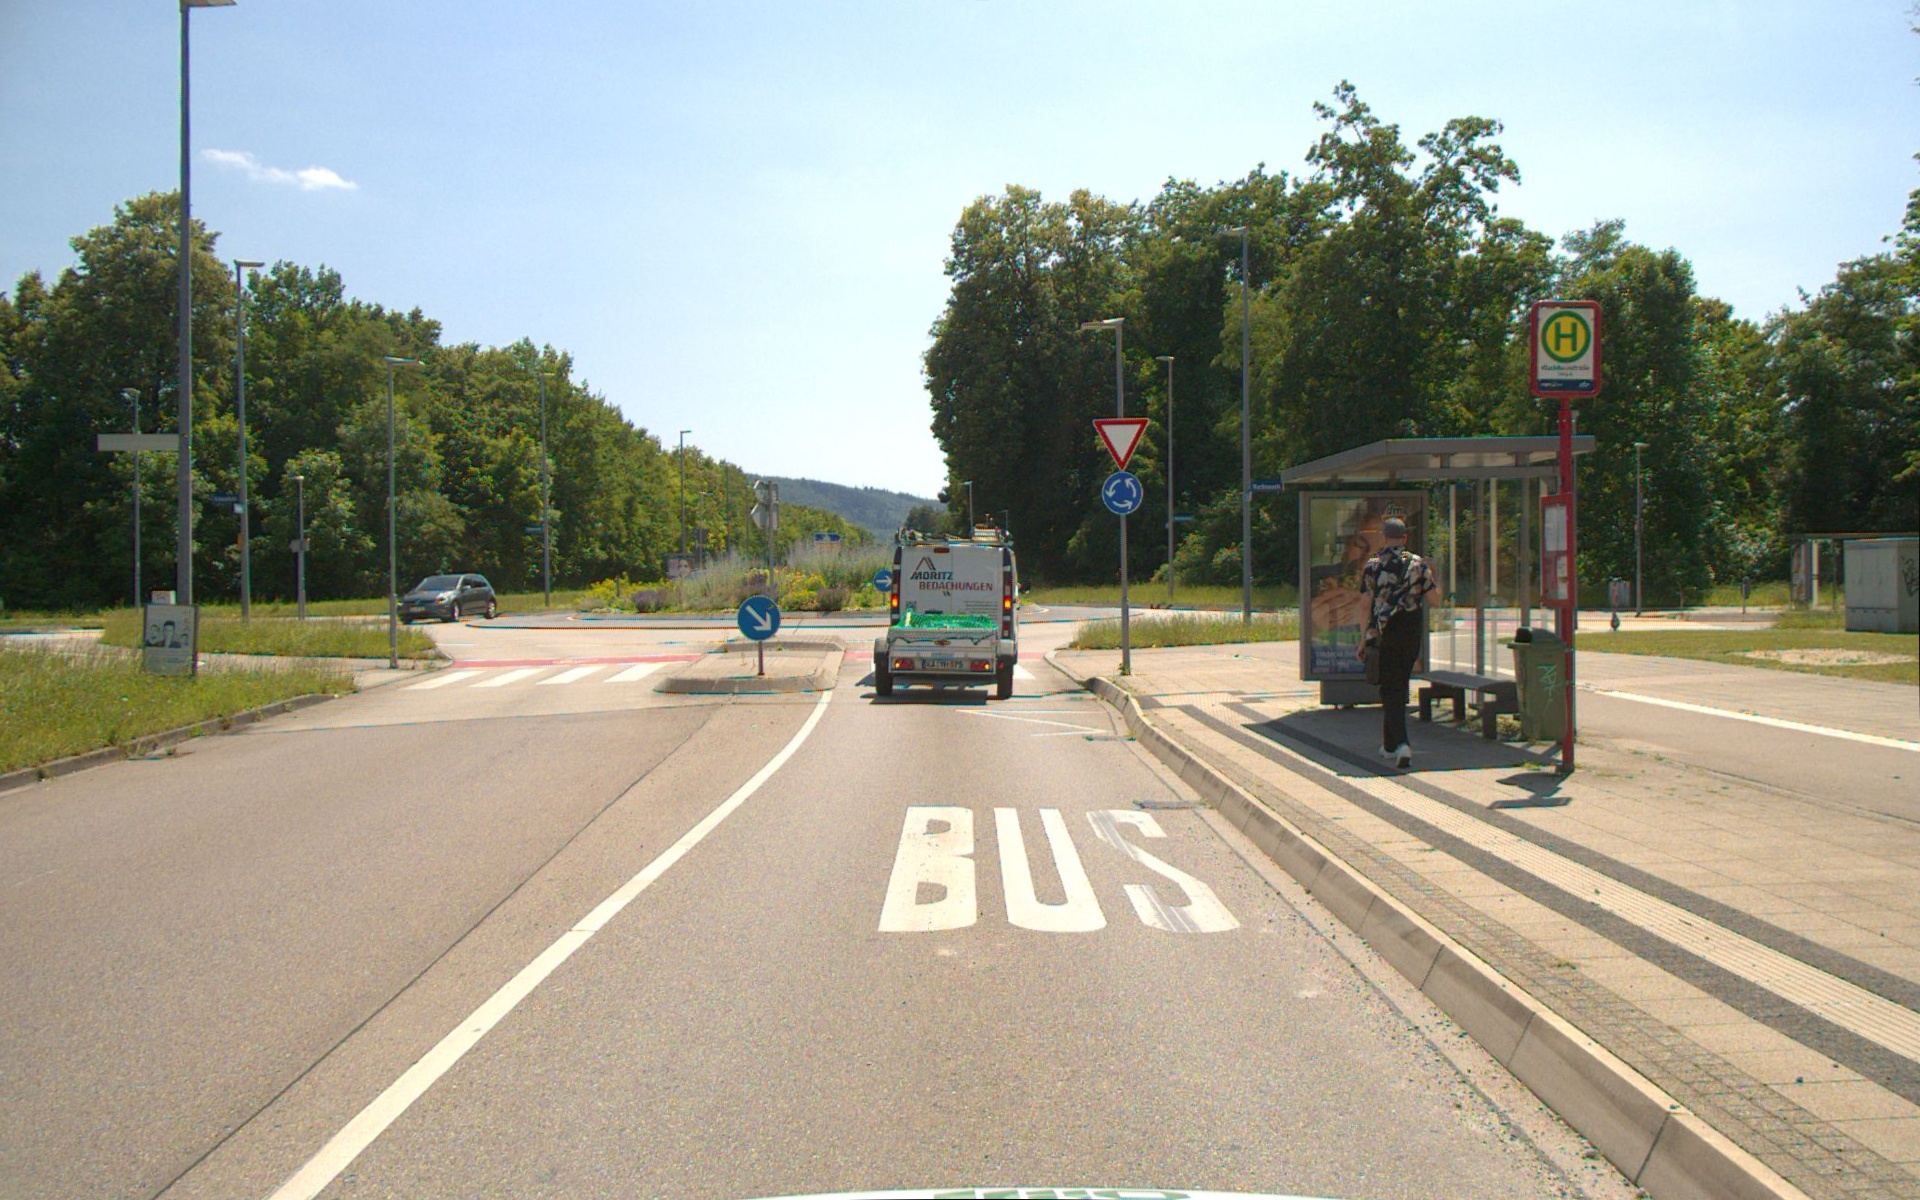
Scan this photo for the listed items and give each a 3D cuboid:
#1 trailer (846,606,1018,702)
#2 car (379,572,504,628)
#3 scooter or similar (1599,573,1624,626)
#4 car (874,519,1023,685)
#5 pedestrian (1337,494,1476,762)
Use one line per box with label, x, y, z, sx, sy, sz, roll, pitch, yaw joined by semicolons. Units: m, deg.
trailer;-0.283;0.669;21.904;2.077;1.116;3.356;0;1;2
car;-15.954;-0.031;51.104;1.951;1.504;4.293;-2;2;9
scooter or similar;15.174;-0.014;38.491;0.438;1.222;1.398;0;0;25
car;-0.089;-0.004;26.034;2.121;2.356;4.983;0;1;2
pedestrian;3.242;0.191;12.080;0.694;1.854;0.826;-3;0;-2
